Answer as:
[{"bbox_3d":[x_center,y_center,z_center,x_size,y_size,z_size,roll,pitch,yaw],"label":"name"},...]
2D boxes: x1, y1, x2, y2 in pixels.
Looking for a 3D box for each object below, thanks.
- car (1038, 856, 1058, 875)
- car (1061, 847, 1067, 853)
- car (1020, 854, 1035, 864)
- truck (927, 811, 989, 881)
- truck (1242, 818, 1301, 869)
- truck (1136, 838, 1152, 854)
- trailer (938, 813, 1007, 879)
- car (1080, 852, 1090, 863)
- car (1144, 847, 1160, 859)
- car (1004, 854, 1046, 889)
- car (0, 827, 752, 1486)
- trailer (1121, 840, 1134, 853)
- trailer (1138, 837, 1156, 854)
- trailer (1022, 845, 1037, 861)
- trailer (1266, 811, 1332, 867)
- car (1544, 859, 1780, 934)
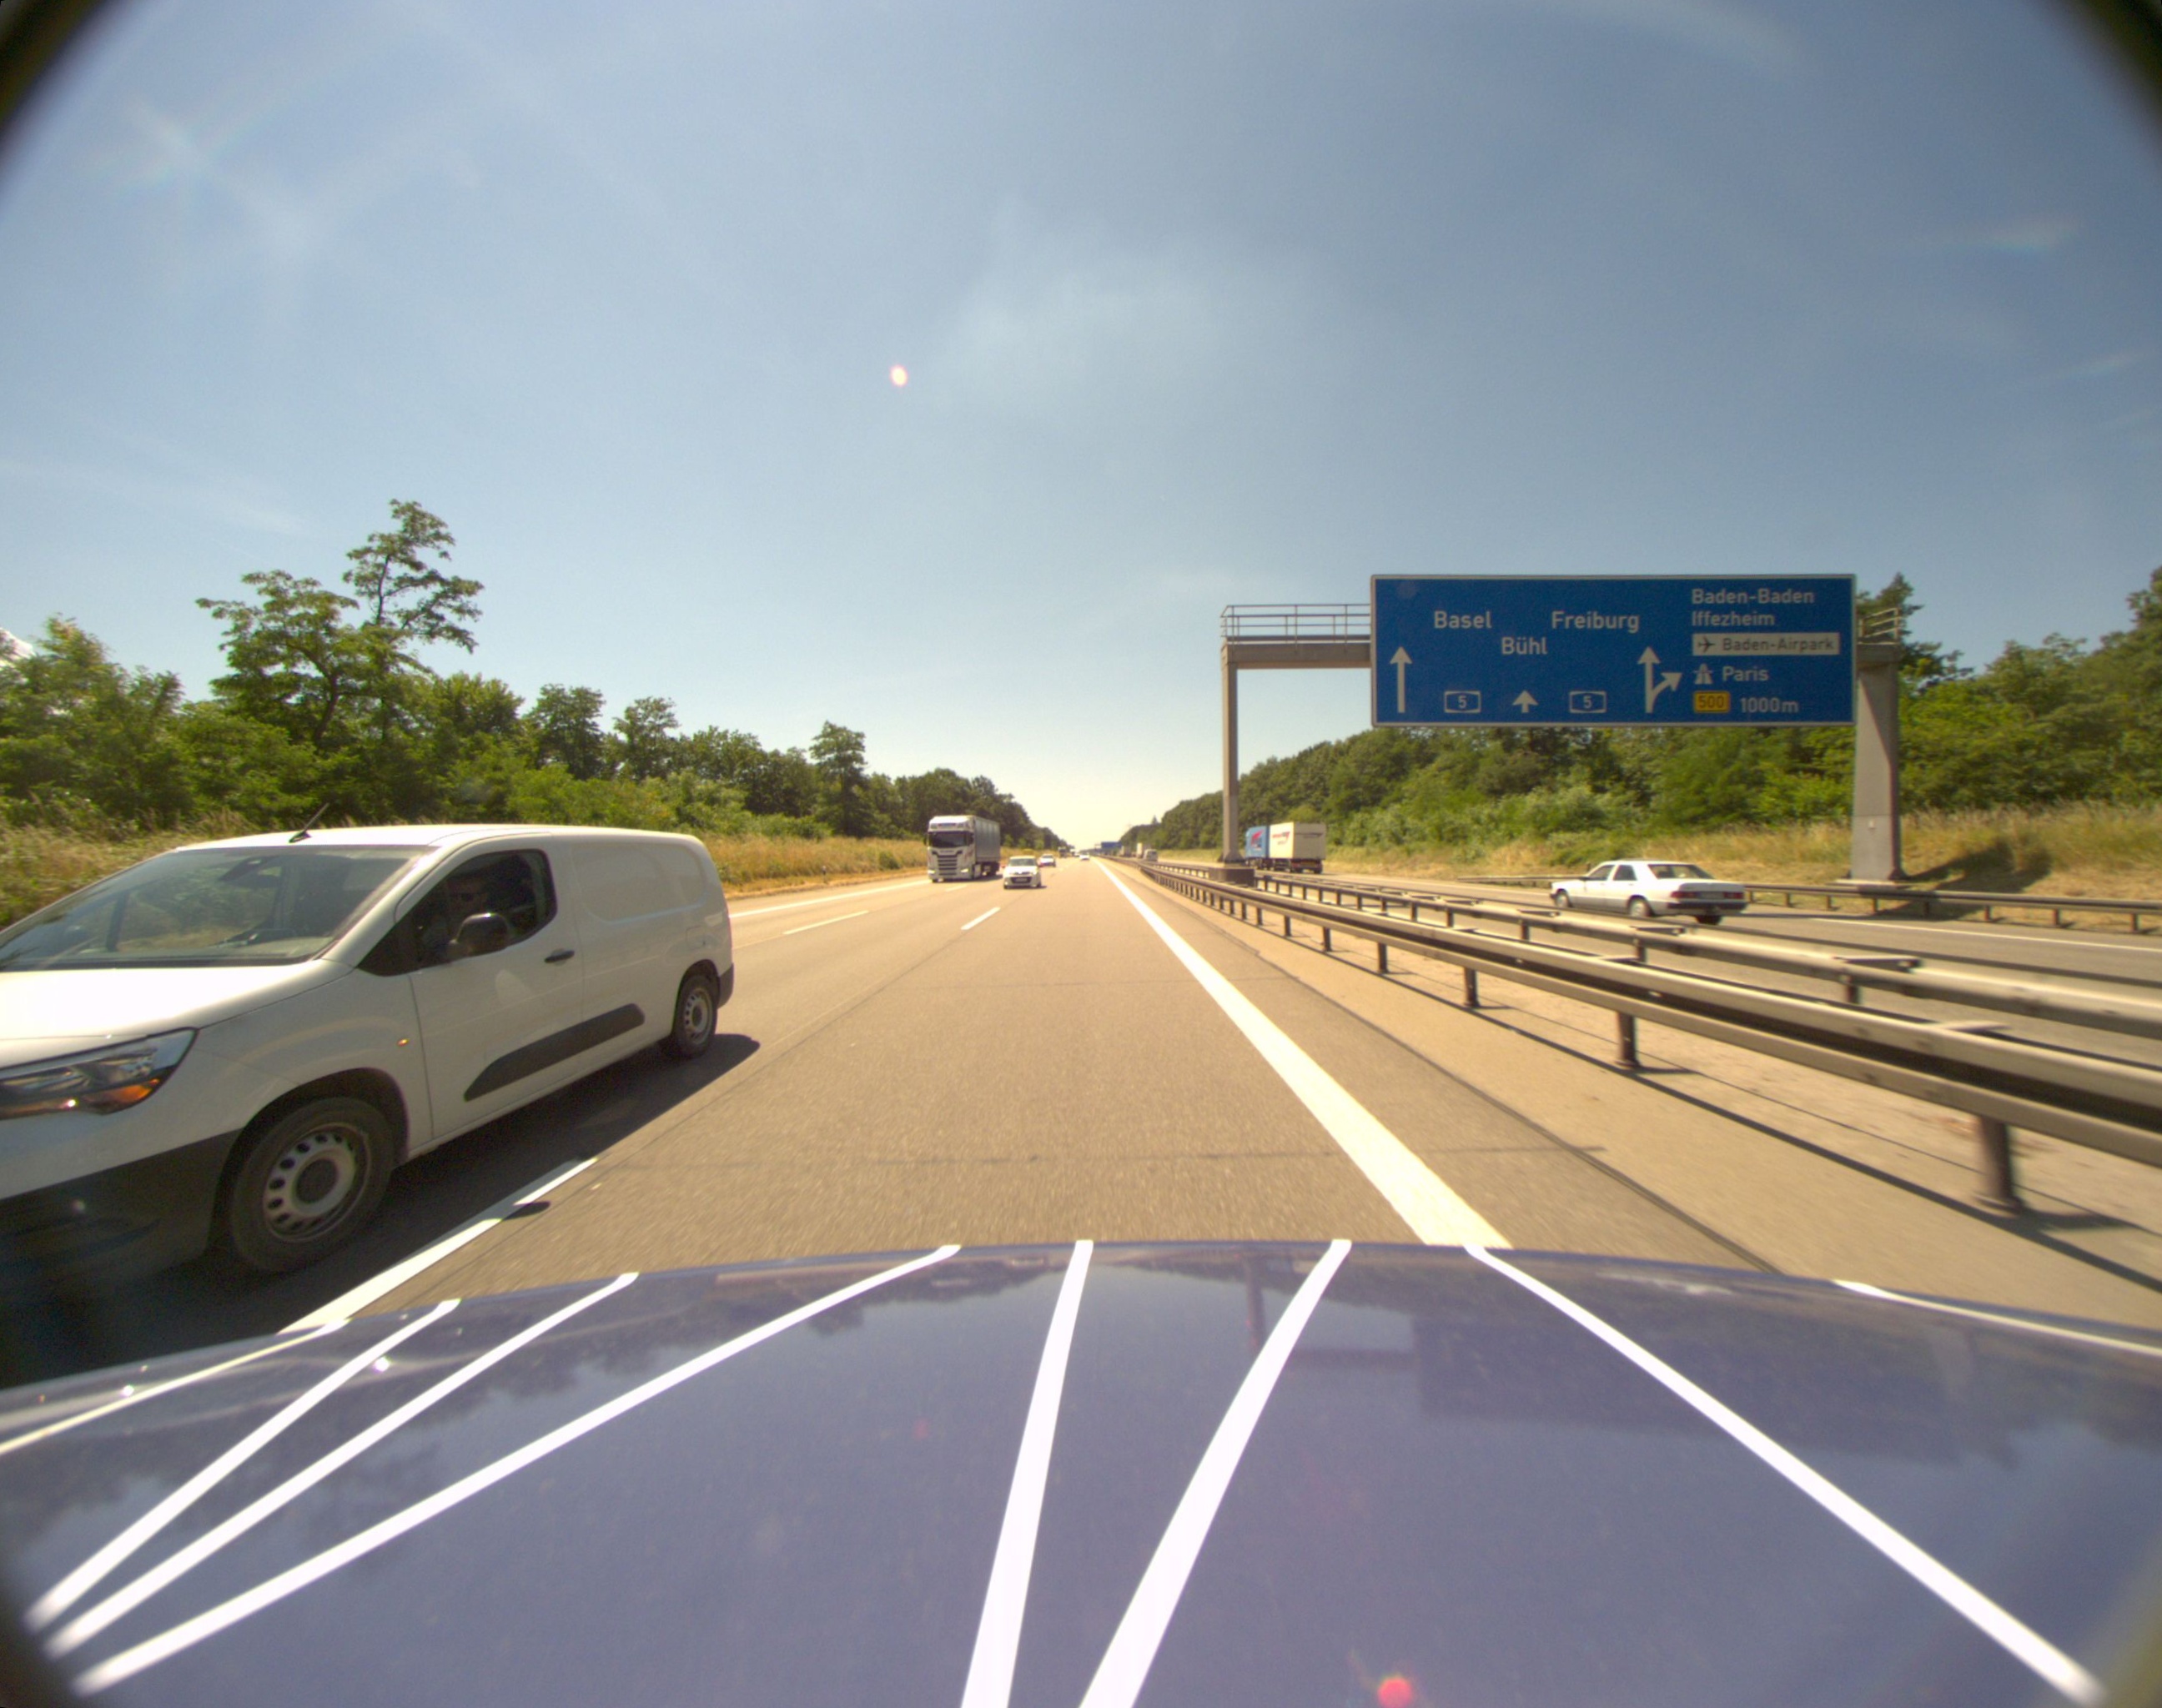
[{"bbox_3d":[-3.731,1.270,86.212,1.998,2.002,4.000,-2,1,1],"label":"car"},{"bbox_3d":[-5.636,-1.327,251.999,1.998,2.002,4.000,-2,1,1],"label":"car"},{"bbox_3d":[-7.585,0.732,108.319,1.845,1.275,3.352,-2,1,1],"label":"car"},{"bbox_3d":[-7.534,-0.495,47.324,2.603,3.980,6.173,-2,1,1],"label":"truck"},{"bbox_3d":[17.873,-0.967,72.164,3.065,4.532,10.458,0,1,1],"label":"truck"},{"bbox_3d":[17.071,-2.119,205.235,3.539,4.296,7.058,2,1,0],"label":"truck"},{"bbox_3d":[-7.467,-0.560,54.364,2.603,3.980,14.079,-2,1,1],"label":"trailer"},{"bbox_3d":[0.785,0.657,148.040,1.998,2.002,4.000,-2,1,1],"label":"car"},{"bbox_3d":[10.763,-0.160,115.231,1.836,1.844,5.236,1,1,0],"label":"car"},{"bbox_3d":[-2.527,0.773,34.843,1.581,1.412,3.352,-2,1,1],"label":"car"},{"bbox_3d":[-3.930,0.842,4.358,1.870,1.807,4.940,-2,1,0],"label":"car"},{"bbox_3d":[15.768,-2.475,261.360,3.539,4.160,13.661,2,1,0],"label":"trailer"},{"bbox_3d":[17.068,-2.109,198.136,3.539,4.160,13.604,2,1,0],"label":"trailer"},{"bbox_3d":[-7.578,-0.133,111.581,1.849,2.196,3.197,-2,1,1],"label":"trailer"},{"bbox_3d":[17.749,-1.191,62.444,3.065,4.258,8.634,0,1,1],"label":"trailer"},{"bbox_3d":[12.794,0.856,17.173,1.811,1.388,4.479,1,1,-1],"label":"car"}]
